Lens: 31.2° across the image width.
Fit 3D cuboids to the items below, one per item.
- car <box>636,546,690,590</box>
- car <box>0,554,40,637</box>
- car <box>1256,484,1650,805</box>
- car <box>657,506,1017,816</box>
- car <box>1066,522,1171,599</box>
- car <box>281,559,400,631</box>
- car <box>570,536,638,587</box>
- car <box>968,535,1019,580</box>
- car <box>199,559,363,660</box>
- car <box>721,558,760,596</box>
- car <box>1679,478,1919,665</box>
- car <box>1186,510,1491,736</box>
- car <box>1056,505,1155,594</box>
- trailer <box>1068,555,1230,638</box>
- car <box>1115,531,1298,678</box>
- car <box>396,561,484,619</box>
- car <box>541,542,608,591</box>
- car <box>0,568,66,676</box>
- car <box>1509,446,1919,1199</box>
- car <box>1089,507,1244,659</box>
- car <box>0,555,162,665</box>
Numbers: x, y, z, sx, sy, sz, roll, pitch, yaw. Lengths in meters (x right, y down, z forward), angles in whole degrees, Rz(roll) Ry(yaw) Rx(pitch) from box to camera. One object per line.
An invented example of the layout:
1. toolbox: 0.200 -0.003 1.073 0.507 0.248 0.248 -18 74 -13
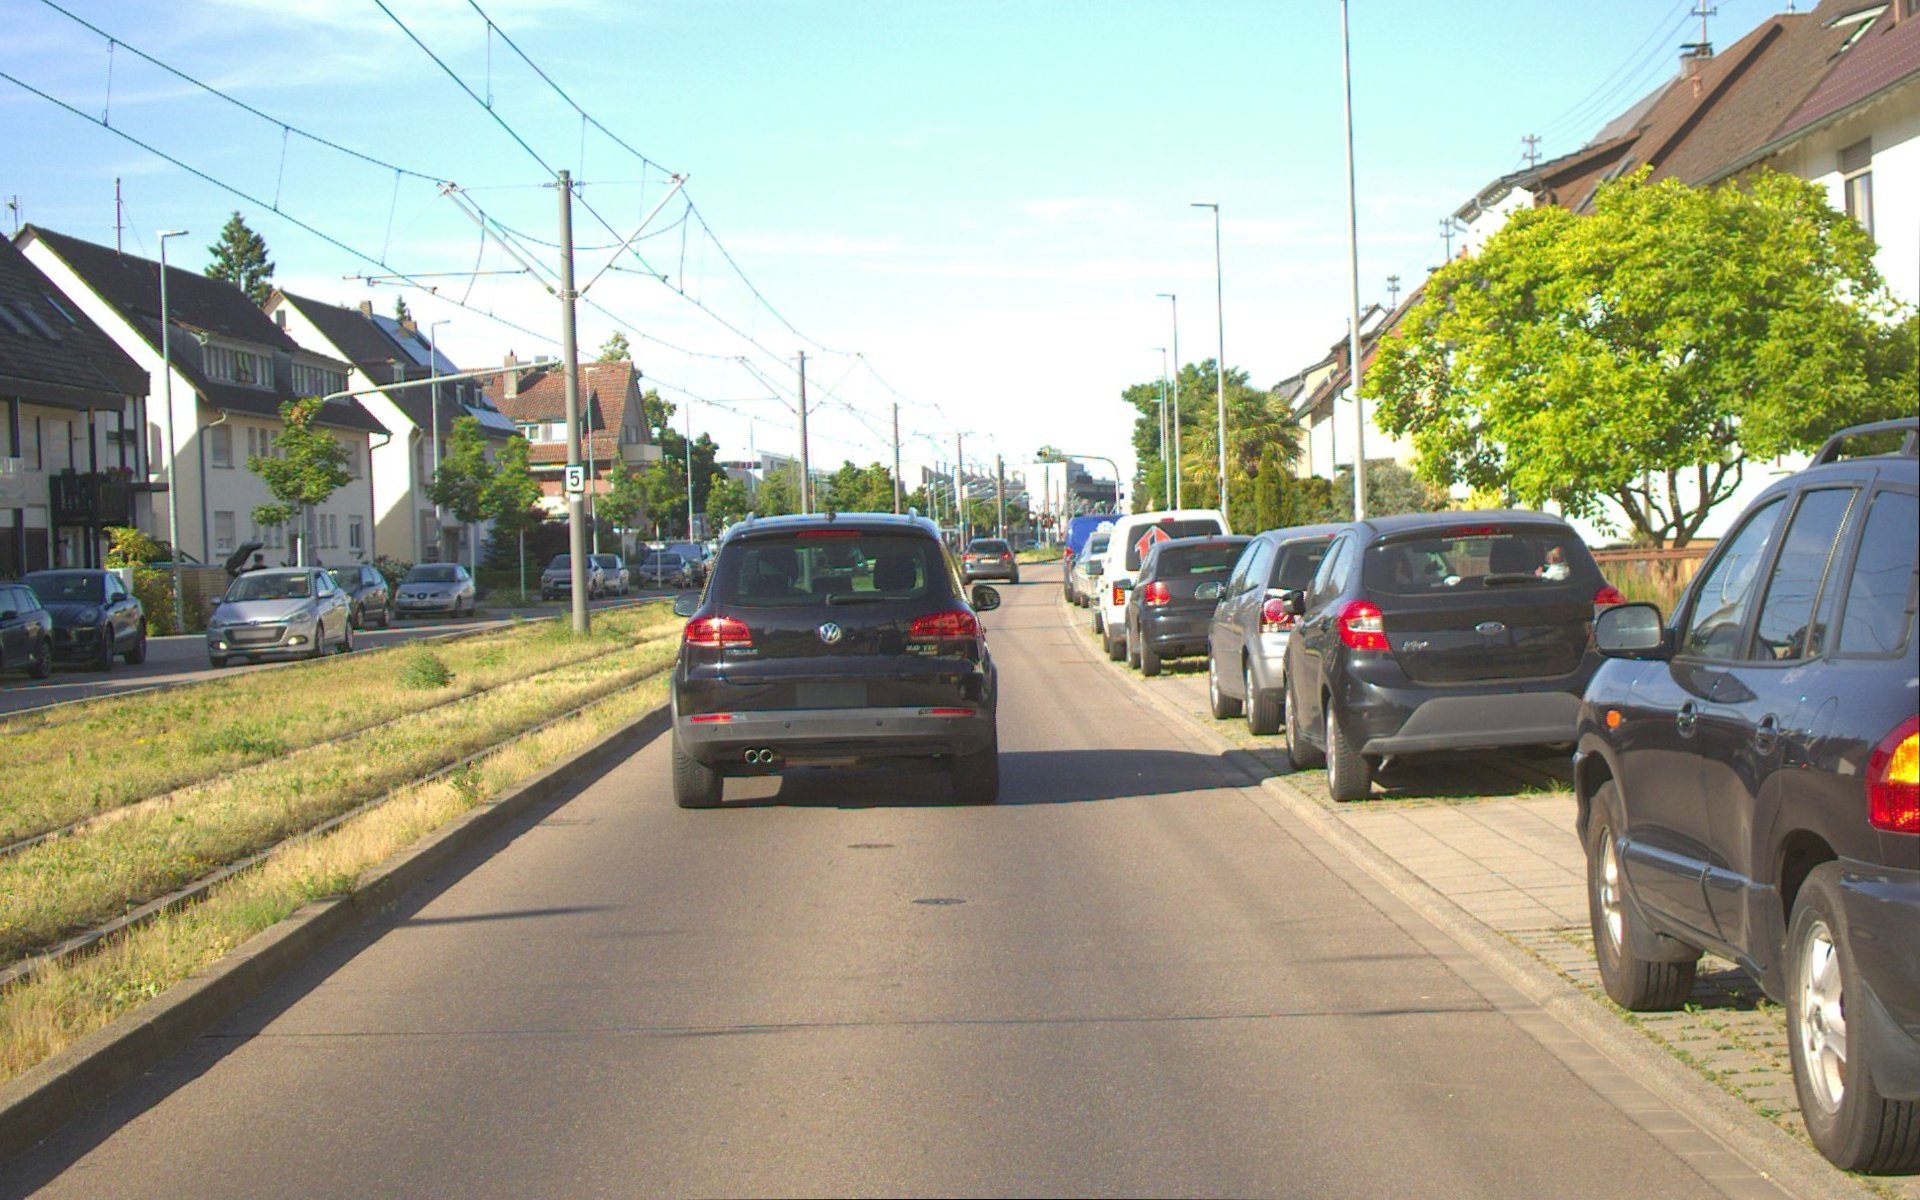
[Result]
1. car: -11.656 -1.237 134.944 1.660 1.575 4.000 -2 -1 1
2. car: -20.817 -0.028 69.069 4.165 1.611 1.760 -2 1 -3
3. car: 2.704 0.192 19.640 1.666 1.542 3.835 -4 1 1
4. car: -0.847 0.307 20.723 1.811 1.665 4.258 0 1 -7
5. car: 3.220 -0.826 70.618 1.786 1.436 4.460 -4 1 -1
6. car: -13.789 -0.126 76.690 1.619 1.448 3.717 -2 1 5
7. car: -12.286 -1.344 118.741 1.803 1.626 4.000 -2 1 1
8. car: 1.070 -1.383 110.679 1.572 1.386 3.614 -2 1 0
9. car: -10.775 0.158 54.803 1.708 1.485 4.024 -2 -1 1
10. car: -10.064 -1.068 157.704 1.465 1.671 3.287 -2 0 1
11. car: 8.108 -0.274 27.549 1.993 1.440 4.883 -4 1 -25
12. car: 2.721 0.130 25.597 1.615 1.470 4.450 -2 1 -1
13. car: 3.227 -1.140 76.988 1.993 1.855 4.917 -2 1 1
14. trailer: 2.905 -0.079 53.851 2.204 1.090 4.372 -4 1 0
15. car: 2.644 0.024 37.587 1.671 1.448 4.126 -2 1 0
16. car: -13.507 -0.245 89.464 1.618 1.404 3.717 -2 -1 1
17. car: -12.593 -1.113 112.420 1.659 1.491 3.579 -2 1 1
18. car: -14.299 0.332 49.775 1.520 1.470 4.201 -2 1 1
19. car: 2.791 0.439 9.127 1.854 1.653 4.474 -2 1 0
20. car: 2.571 -0.254 43.707 1.690 1.770 4.656 -2 1 1
21. car: -14.226 0.128 55.294 1.802 1.591 4.813 -2 1 -3
